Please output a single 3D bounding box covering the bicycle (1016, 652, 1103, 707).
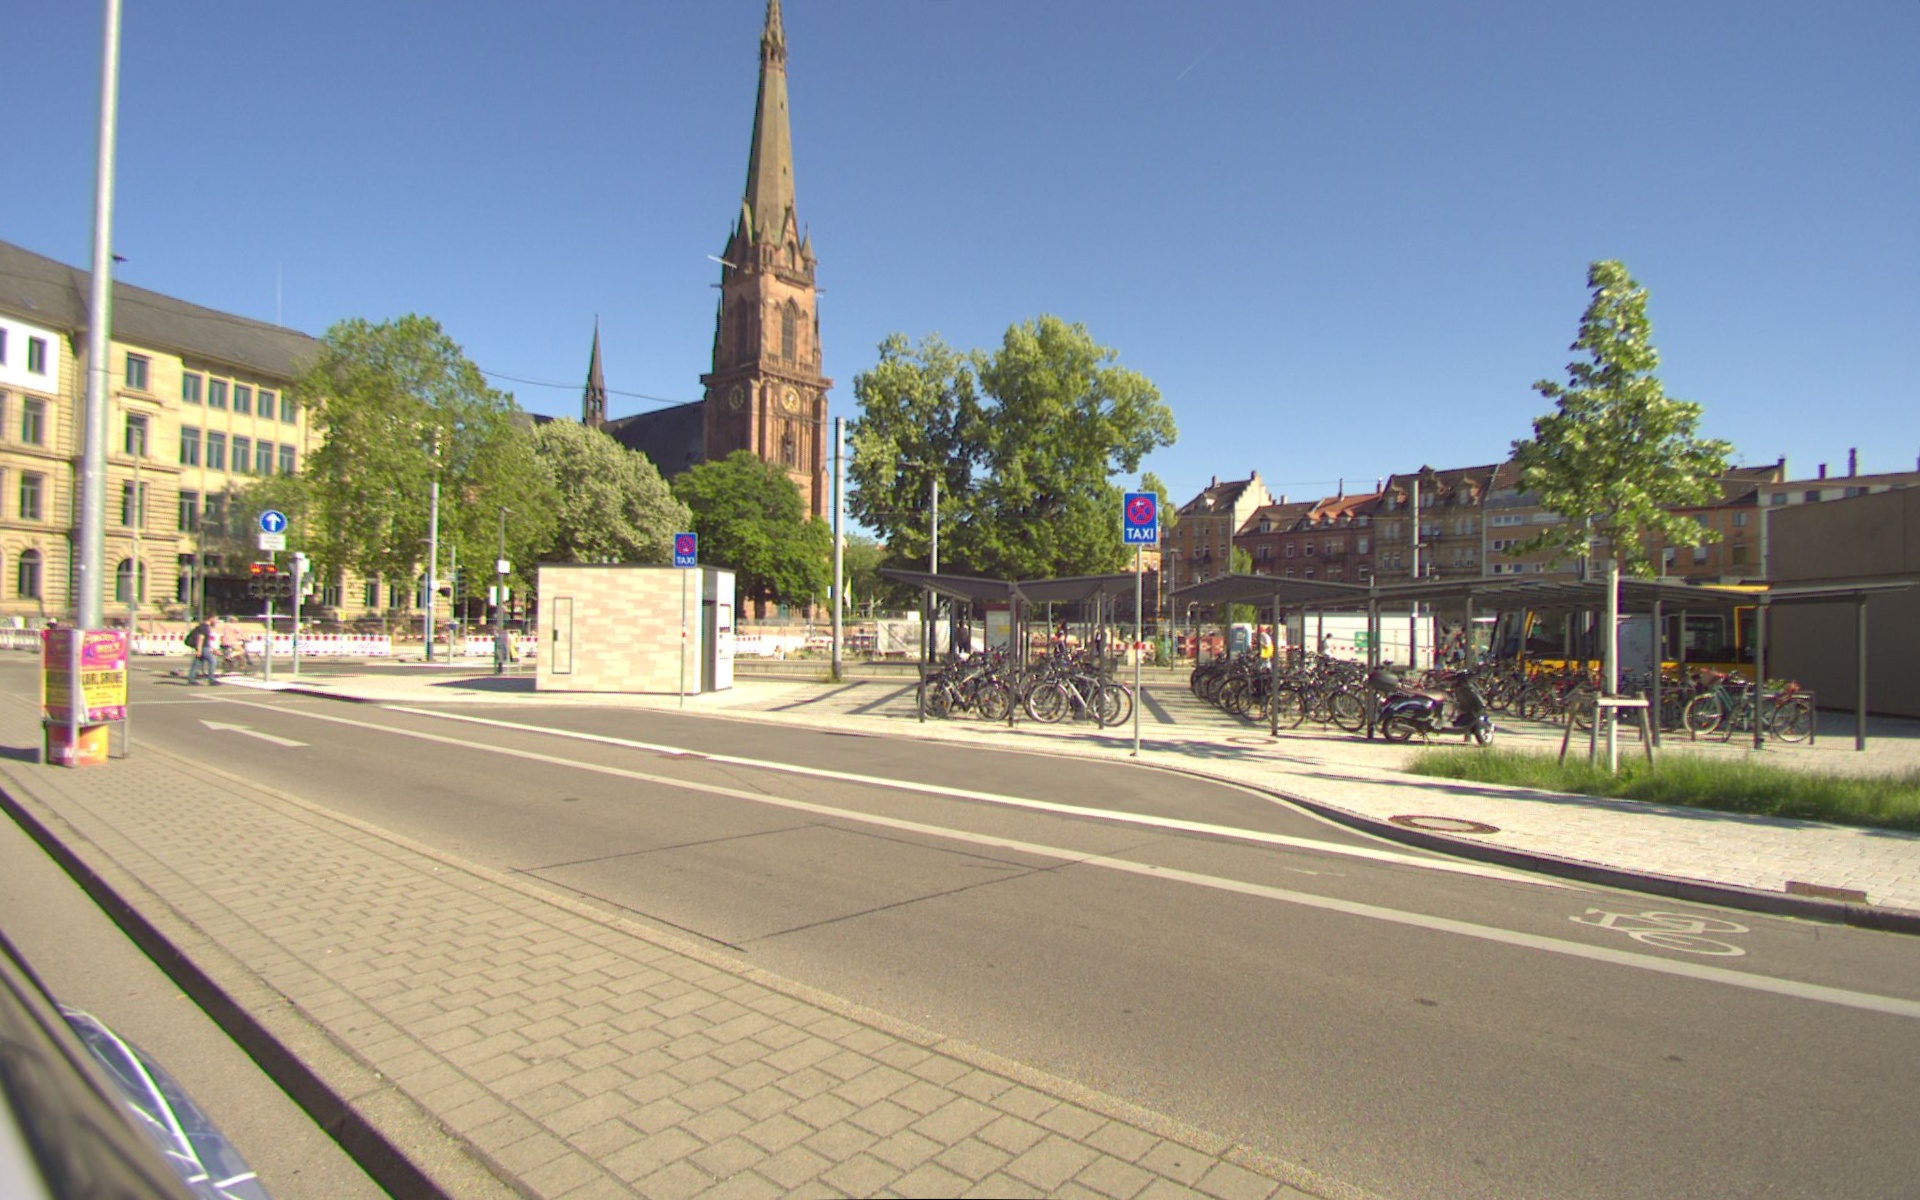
[{"bbox_3d":[2.054,1.642,20.967,1.755,1.083,0.406,1,0,6],"label":"bicycle"}]

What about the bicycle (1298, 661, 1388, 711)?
[{"bbox_3d":[7.863,1.760,20.820,1.661,0.980,0.406,-1,0,3],"label":"bicycle"}]

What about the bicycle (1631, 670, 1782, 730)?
[{"bbox_3d":[13.481,1.797,18.324,2.117,1.005,0.690,-1,0,7],"label":"bicycle"}]

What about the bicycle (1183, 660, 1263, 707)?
[{"bbox_3d":[5.788,1.837,22.290,1.661,0.980,0.406,1,-5,3],"label":"bicycle"}]

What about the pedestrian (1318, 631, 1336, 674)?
[{"bbox_3d":[16.309,2.320,44.984,0.637,1.885,0.529,0,-2,5],"label":"pedestrian"}]

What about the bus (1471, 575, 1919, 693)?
[{"bbox_3d":[22.106,0.933,28.623,13.462,3.095,2.859,0,-2,6],"label":"bus"}]

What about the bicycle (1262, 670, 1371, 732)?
[{"bbox_3d":[5.935,1.684,16.884,1.661,0.980,0.406,-1,0,3],"label":"bicycle"}]

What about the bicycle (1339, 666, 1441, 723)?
[{"bbox_3d":[7.825,1.722,18.454,1.661,0.980,0.406,-1,0,3],"label":"bicycle"}]

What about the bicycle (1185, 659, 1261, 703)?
[{"bbox_3d":[6.139,1.881,23.618,1.661,0.980,0.406,1,-5,3],"label":"bicycle"}]

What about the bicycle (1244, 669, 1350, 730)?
[{"bbox_3d":[5.795,1.709,17.457,1.661,0.980,0.406,1,0,3],"label":"bicycle"}]

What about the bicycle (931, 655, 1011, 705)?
[{"bbox_3d":[0.231,1.676,21.398,1.663,1.006,0.406,0,0,8],"label":"bicycle"}]

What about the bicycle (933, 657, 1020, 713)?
[{"bbox_3d":[0.330,1.664,19.939,1.663,1.006,0.406,2,0,8],"label":"bicycle"}]

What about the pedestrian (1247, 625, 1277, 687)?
[{"bbox_3d":[8.062,1.479,27.057,0.694,1.635,0.619,0,-2,9],"label":"pedestrian"}]

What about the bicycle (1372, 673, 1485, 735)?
[{"bbox_3d":[7.769,1.723,16.815,1.661,0.980,0.406,-1,0,3],"label":"bicycle"}]

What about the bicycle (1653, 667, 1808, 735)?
[{"bbox_3d":[12.990,1.696,17.110,2.030,1.087,0.604,-1,0,7],"label":"bicycle"}]

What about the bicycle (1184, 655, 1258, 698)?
[{"bbox_3d":[6.258,1.836,24.306,1.661,0.980,0.406,1,-5,3],"label":"bicycle"}]

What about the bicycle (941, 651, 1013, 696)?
[{"bbox_3d":[0.395,1.701,23.656,1.663,1.006,0.406,0,0,8],"label":"bicycle"}]

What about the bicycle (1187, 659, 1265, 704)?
[{"bbox_3d":[6.055,1.859,23.045,1.661,0.980,0.406,1,-5,3],"label":"bicycle"}]

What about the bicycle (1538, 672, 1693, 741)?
[{"bbox_3d":[10.574,1.710,16.383,2.048,1.045,0.533,-1,0,8],"label":"bicycle"}]

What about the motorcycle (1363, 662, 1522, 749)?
[{"bbox_3d":[7.195,1.570,15.154,2.059,1.228,0.569,-1,-2,3],"label":"motorcycle"}]

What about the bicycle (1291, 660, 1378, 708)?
[{"bbox_3d":[7.990,1.789,21.617,1.661,0.980,0.406,-1,0,3],"label":"bicycle"}]

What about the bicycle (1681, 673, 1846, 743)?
[{"bbox_3d":[12.769,1.714,16.132,2.048,1.045,0.533,-1,0,8],"label":"bicycle"}]

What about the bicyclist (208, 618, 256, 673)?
[{"bbox_3d":[-21.318,1.319,29.631,0.738,1.583,0.877,-1,-2,28],"label":"bicyclist"}]

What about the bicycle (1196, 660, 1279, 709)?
[{"bbox_3d":[5.927,1.805,21.634,1.661,0.980,0.406,1,-5,3],"label":"bicycle"}]

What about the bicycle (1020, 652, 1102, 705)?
[{"bbox_3d":[2.195,1.694,22.022,1.755,1.083,0.406,1,0,6],"label":"bicycle"}]

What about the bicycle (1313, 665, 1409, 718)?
[{"bbox_3d":[7.718,1.762,19.523,1.661,0.980,0.406,-1,0,3],"label":"bicycle"}]

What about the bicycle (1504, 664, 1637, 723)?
[{"bbox_3d":[11.323,1.732,18.806,2.048,1.045,0.533,-1,0,8],"label":"bicycle"}]

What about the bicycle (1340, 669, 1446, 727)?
[{"bbox_3d":[7.645,1.724,17.886,1.661,0.980,0.406,-1,0,3],"label":"bicycle"}]

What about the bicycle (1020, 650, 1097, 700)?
[{"bbox_3d":[2.274,1.731,23.492,1.755,1.083,0.406,1,0,6],"label":"bicycle"}]

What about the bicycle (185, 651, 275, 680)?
[{"bbox_3d":[-21.327,1.904,29.612,0.737,0.788,2.033,0,-2,27],"label":"bicycle"}]

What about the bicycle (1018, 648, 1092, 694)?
[{"bbox_3d":[2.316,1.723,24.672,1.755,1.083,0.406,1,0,6],"label":"bicycle"}]

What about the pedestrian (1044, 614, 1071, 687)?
[{"bbox_3d":[2.538,1.317,26.459,0.693,1.874,0.619,0,-2,5],"label":"pedestrian"}]

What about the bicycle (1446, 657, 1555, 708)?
[{"bbox_3d":[11.867,1.801,22.250,2.048,1.045,0.533,-1,2,8],"label":"bicycle"}]

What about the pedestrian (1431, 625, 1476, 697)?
[{"bbox_3d":[13.451,1.653,27.601,0.757,1.931,0.805,1,-2,-11],"label":"pedestrian"}]

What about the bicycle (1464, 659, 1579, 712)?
[{"bbox_3d":[11.778,1.794,21.259,2.048,1.045,0.533,-1,2,8],"label":"bicycle"}]

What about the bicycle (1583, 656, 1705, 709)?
[{"bbox_3d":[14.080,1.696,20.871,2.048,1.045,0.533,-1,0,8],"label":"bicycle"}]

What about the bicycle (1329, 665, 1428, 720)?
[{"bbox_3d":[7.844,1.730,19.007,1.661,0.980,0.406,-1,0,3],"label":"bicycle"}]

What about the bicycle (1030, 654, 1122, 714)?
[{"bbox_3d":[2.237,1.620,19.576,1.755,1.083,0.406,1,0,6],"label":"bicycle"}]

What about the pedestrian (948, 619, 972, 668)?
[{"bbox_3d":[0.011,1.677,39.103,0.610,1.874,0.703,2,-2,-39],"label":"pedestrian"}]

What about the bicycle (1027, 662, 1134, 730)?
[{"bbox_3d":[2.024,1.606,17.086,1.753,1.083,0.406,1,-3,6],"label":"bicycle"}]

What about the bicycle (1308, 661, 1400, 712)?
[{"bbox_3d":[7.859,1.730,20.223,1.661,0.980,0.406,-1,0,3],"label":"bicycle"}]

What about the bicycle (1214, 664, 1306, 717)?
[{"bbox_3d":[5.903,1.780,19.952,1.661,0.980,0.406,1,0,3],"label":"bicycle"}]

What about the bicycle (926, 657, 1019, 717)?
[{"bbox_3d":[0.233,1.597,18.595,1.663,1.006,0.406,2,0,8],"label":"bicycle"}]

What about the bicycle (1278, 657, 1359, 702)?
[{"bbox_3d":[8.075,1.788,22.832,1.661,0.980,0.406,-1,0,3],"label":"bicycle"}]

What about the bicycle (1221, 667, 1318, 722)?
[{"bbox_3d":[5.730,1.749,18.762,1.661,0.980,0.406,-1,0,3],"label":"bicycle"}]

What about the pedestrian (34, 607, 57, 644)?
[{"bbox_3d":[-44.112,1.229,48.823,0.540,1.733,0.538,0,-2,3],"label":"pedestrian"}]

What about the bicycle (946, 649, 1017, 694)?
[{"bbox_3d":[0.519,1.702,24.181,1.663,1.006,0.406,0,0,8],"label":"bicycle"}]

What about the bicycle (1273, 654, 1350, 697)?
[{"bbox_3d":[8.293,1.784,23.909,1.661,0.980,0.406,-1,0,3],"label":"bicycle"}]

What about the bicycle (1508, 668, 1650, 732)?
[{"bbox_3d":[10.769,1.740,17.663,2.048,1.045,0.533,-1,0,8],"label":"bicycle"}]

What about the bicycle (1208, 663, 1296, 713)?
[{"bbox_3d":[5.927,1.785,20.558,1.661,0.980,0.406,1,-5,3],"label":"bicycle"}]

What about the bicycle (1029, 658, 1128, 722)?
[{"bbox_3d":[2.141,1.616,18.331,1.753,1.083,0.406,1,0,6],"label":"bicycle"}]

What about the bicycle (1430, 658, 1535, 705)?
[{"bbox_3d":[12.033,1.879,23.368,2.048,1.045,0.533,-1,-4,8],"label":"bicycle"}]

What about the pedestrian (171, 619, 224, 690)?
[{"bbox_3d":[-19.266,1.368,25.580,0.987,1.756,0.631,2,-2,-42],"label":"pedestrian"}]

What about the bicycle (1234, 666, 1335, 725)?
[{"bbox_3d":[5.817,1.709,18.182,1.661,0.980,0.406,1,0,3],"label":"bicycle"}]

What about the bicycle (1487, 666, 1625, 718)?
[{"bbox_3d":[11.616,1.797,19.784,2.208,0.951,0.685,-1,0,7],"label":"bicycle"}]

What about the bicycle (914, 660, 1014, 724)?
[{"bbox_3d":[0.069,1.574,17.377,1.663,1.006,0.406,2,0,8],"label":"bicycle"}]

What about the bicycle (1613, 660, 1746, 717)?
[{"bbox_3d":[13.854,1.699,19.519,2.048,1.045,0.533,-1,0,8],"label":"bicycle"}]

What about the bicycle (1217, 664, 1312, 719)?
[{"bbox_3d":[5.816,1.737,19.369,1.661,0.980,0.406,1,0,3],"label":"bicycle"}]

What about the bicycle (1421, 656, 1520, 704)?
[{"bbox_3d":[12.302,1.919,24.423,2.048,1.045,0.533,1,3,8],"label":"bicycle"}]

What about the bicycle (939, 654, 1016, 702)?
[{"bbox_3d":[0.386,1.705,22.279,1.663,1.006,0.406,0,0,8],"label":"bicycle"}]
